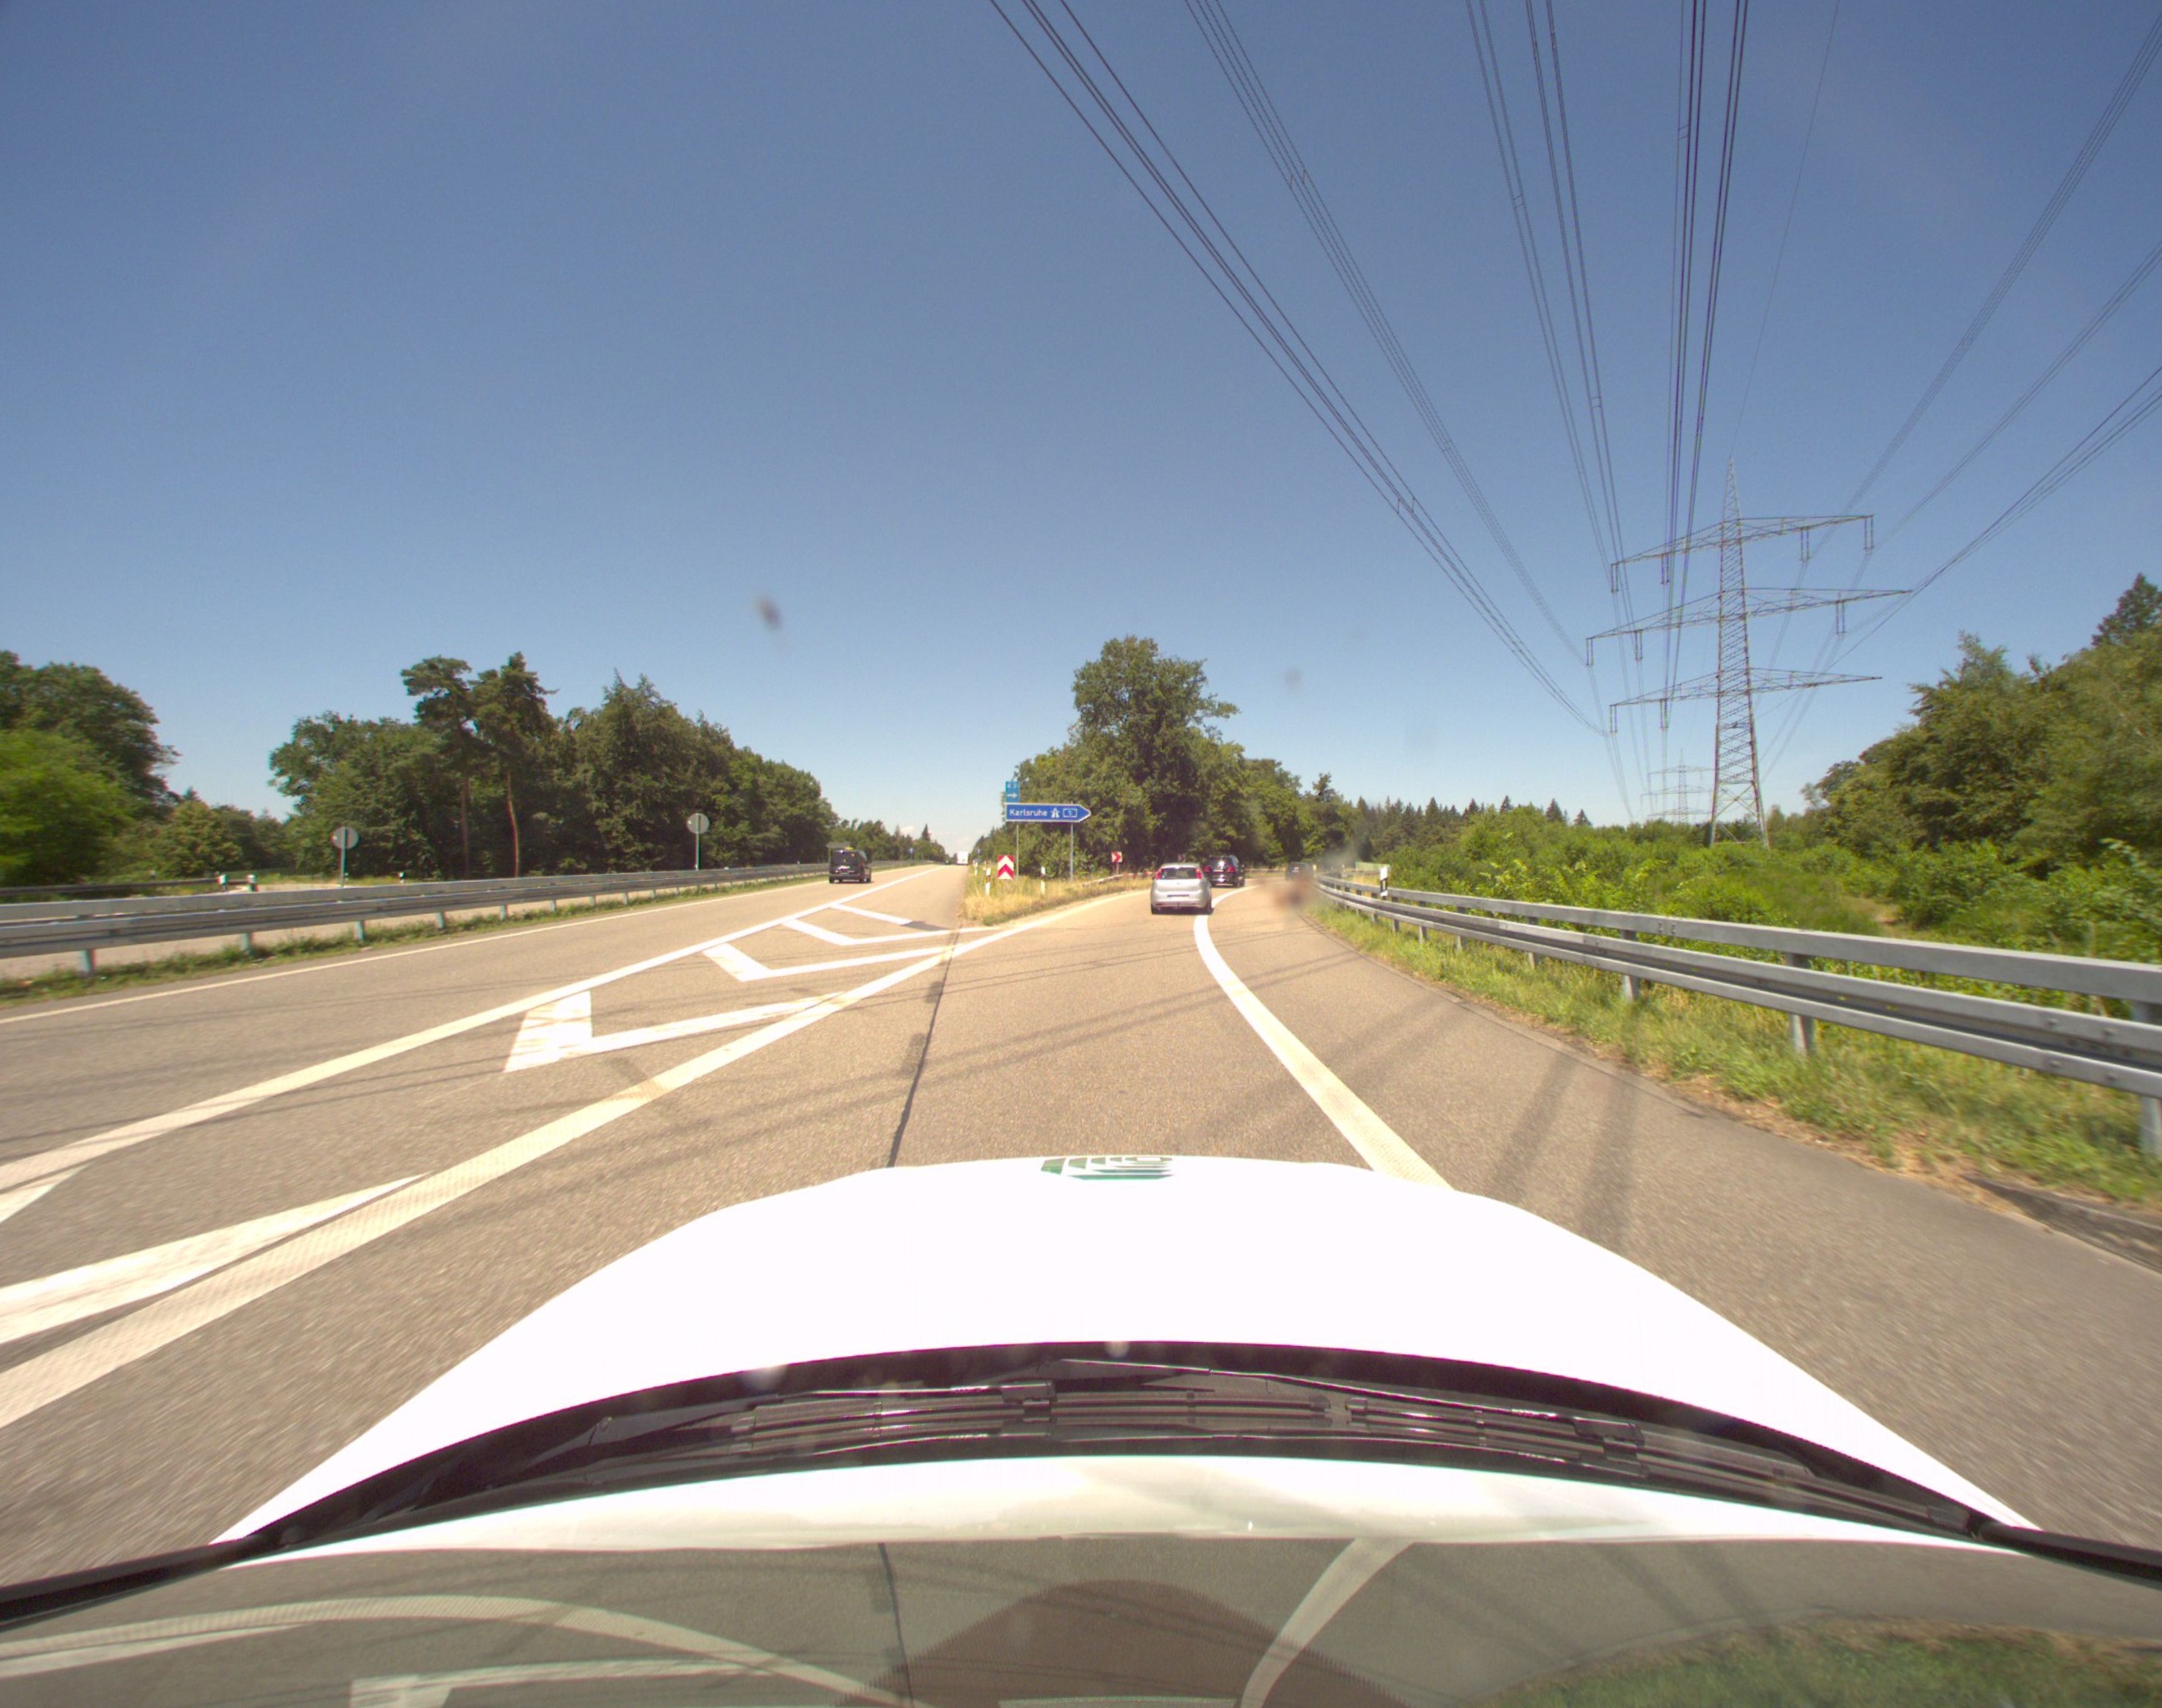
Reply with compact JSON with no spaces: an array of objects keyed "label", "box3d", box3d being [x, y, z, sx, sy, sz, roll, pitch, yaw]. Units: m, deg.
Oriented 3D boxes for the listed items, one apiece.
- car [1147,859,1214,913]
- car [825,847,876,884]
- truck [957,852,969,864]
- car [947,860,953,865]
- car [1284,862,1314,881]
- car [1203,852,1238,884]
[{"label":"car","box3d":[3.044,0.908,24.388,1.629,1.468,3.430,1,0,12]},{"label":"car","box3d":[-12.816,0.605,45.504,1.852,1.887,5.560,-1,0,-7]},{"label":"truck","box3d":[-26.863,0.866,185.298,2.617,2.642,7.646,-1,0,-8]},{"label":"car","box3d":[-38.212,2.531,237.341,1.711,1.471,3.565,1,0,-7]},{"label":"car","box3d":[16.768,1.323,62.569,1.625,1.343,3.594,1,0,25]},{"label":"car","box3d":[7.736,0.756,44.897,1.629,1.654,3.587,1,0,14]}]
